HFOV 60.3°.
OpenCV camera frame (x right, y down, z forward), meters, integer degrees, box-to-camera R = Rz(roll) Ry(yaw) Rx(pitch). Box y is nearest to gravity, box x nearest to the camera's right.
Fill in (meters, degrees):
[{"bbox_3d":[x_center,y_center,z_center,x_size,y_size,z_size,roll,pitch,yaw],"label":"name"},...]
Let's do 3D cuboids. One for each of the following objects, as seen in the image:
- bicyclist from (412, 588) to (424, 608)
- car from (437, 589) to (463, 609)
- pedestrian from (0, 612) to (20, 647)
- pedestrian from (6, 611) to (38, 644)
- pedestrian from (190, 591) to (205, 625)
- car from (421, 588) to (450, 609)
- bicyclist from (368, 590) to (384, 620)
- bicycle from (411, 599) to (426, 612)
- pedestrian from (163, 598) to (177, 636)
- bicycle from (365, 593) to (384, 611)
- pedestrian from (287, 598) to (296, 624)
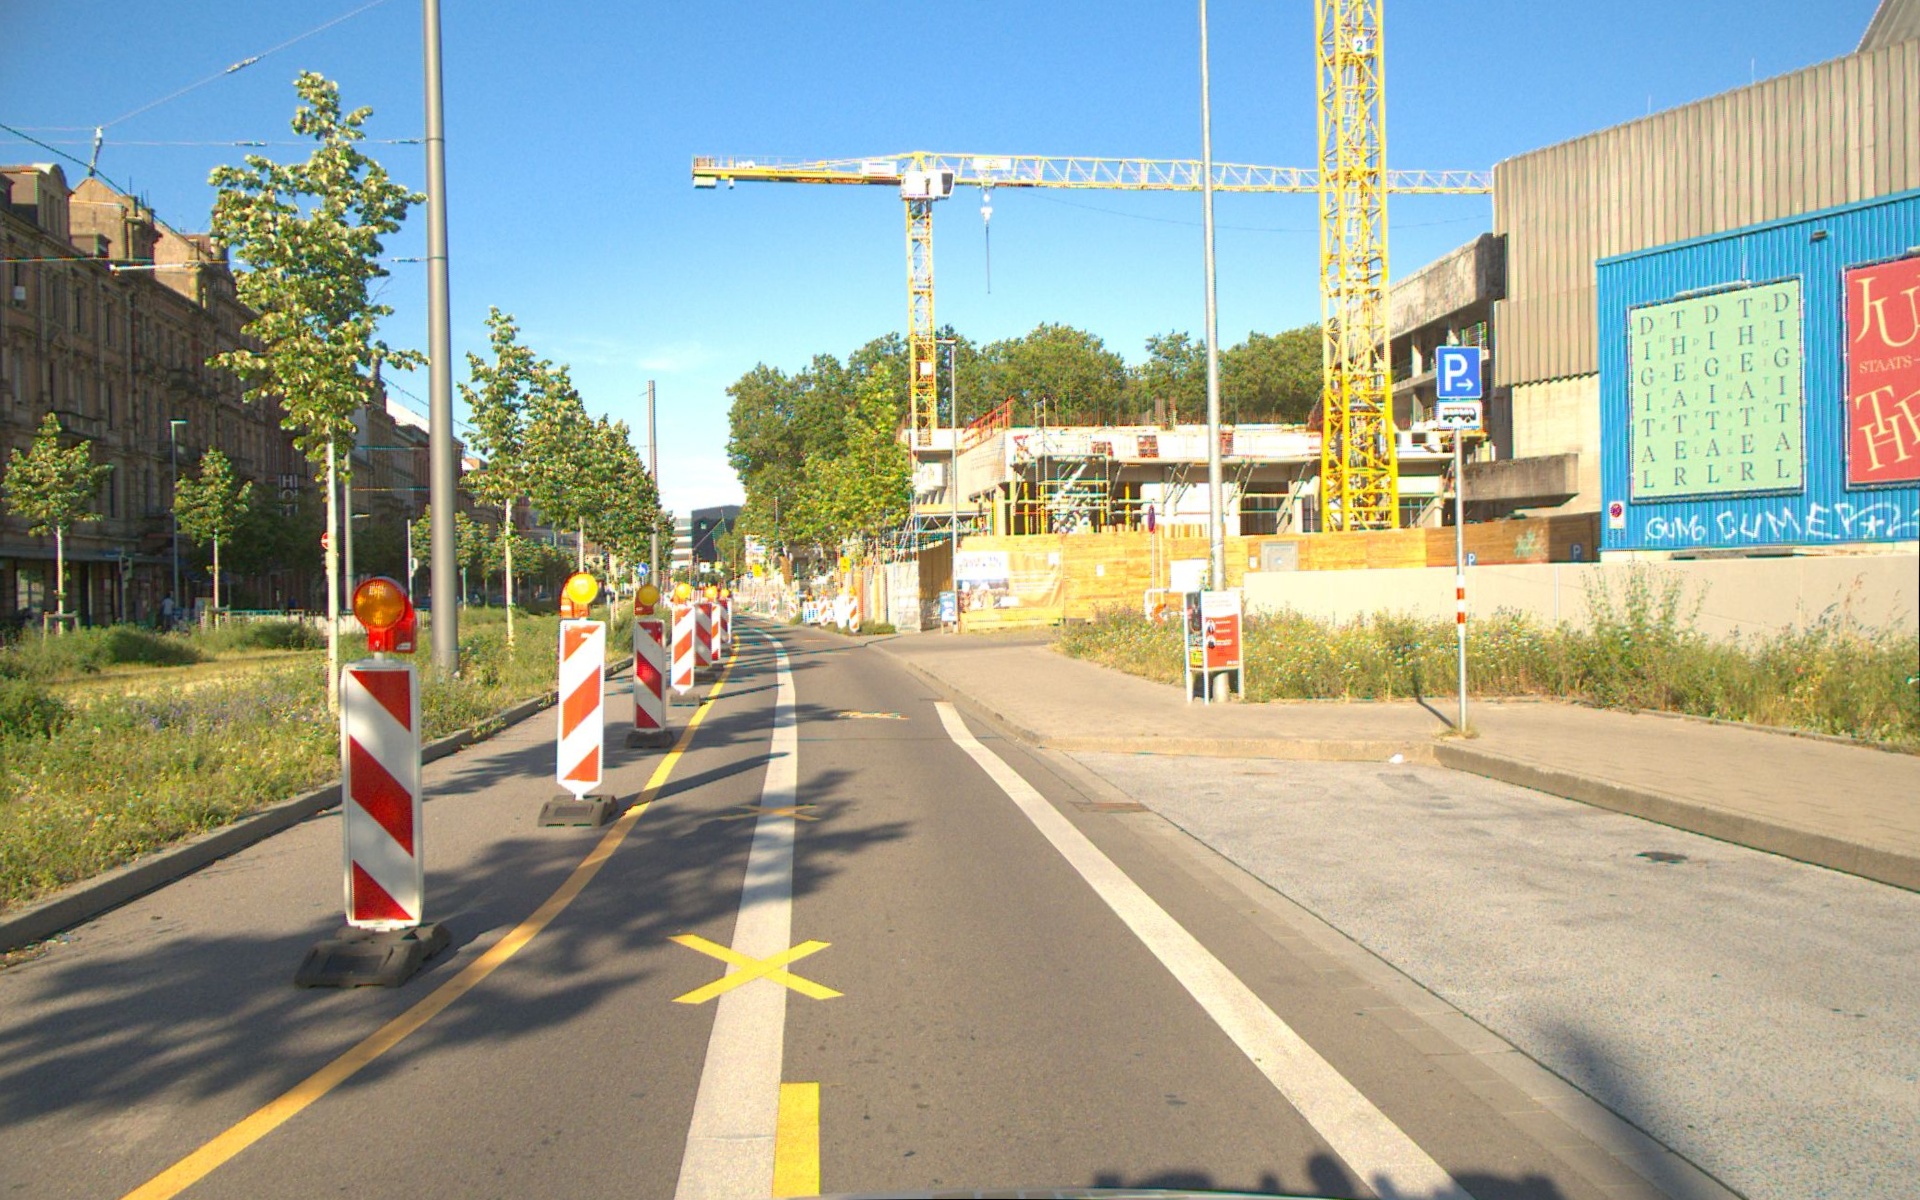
[{"bbox_3d":[-35.380,-0.120,107.951,0.625,1.261,0.737,-1,0,-9],"label":"bicyclist"},{"bbox_3d":[-42.908,-0.097,139.211,1.538,1.590,4.703,-1,1,-10],"label":"car"},{"bbox_3d":[-35.831,1.102,62.028,0.677,1.268,0.927,-1,0,-9],"label":"pedestrian"},{"bbox_3d":[-36.129,1.054,63.748,0.776,1.229,0.927,-1,0,-9],"label":"pedestrian"},{"bbox_3d":[-35.863,0.374,77.766,0.478,1.612,0.532,1,0,-10],"label":"pedestrian"},{"bbox_3d":[-41.453,-0.103,130.824,1.538,1.590,4.703,-1,1,-10],"label":"car"},{"bbox_3d":[-33.294,0.283,94.272,0.682,1.686,0.880,-1,0,-9],"label":"bicyclist"},{"bbox_3d":[-35.393,0.362,108.072,0.625,0.872,2.027,-1,0,-9],"label":"bicycle"},{"bbox_3d":[-37.141,0.795,77.768,0.498,1.795,0.405,1,-1,-10],"label":"pedestrian"},{"bbox_3d":[-33.204,0.100,93.833,0.682,0.995,1.823,-1,0,-9],"label":"bicycle"},{"bbox_3d":[-41.329,0.658,102.288,0.396,1.612,0.424,1,-1,-10],"label":"pedestrian"}]
